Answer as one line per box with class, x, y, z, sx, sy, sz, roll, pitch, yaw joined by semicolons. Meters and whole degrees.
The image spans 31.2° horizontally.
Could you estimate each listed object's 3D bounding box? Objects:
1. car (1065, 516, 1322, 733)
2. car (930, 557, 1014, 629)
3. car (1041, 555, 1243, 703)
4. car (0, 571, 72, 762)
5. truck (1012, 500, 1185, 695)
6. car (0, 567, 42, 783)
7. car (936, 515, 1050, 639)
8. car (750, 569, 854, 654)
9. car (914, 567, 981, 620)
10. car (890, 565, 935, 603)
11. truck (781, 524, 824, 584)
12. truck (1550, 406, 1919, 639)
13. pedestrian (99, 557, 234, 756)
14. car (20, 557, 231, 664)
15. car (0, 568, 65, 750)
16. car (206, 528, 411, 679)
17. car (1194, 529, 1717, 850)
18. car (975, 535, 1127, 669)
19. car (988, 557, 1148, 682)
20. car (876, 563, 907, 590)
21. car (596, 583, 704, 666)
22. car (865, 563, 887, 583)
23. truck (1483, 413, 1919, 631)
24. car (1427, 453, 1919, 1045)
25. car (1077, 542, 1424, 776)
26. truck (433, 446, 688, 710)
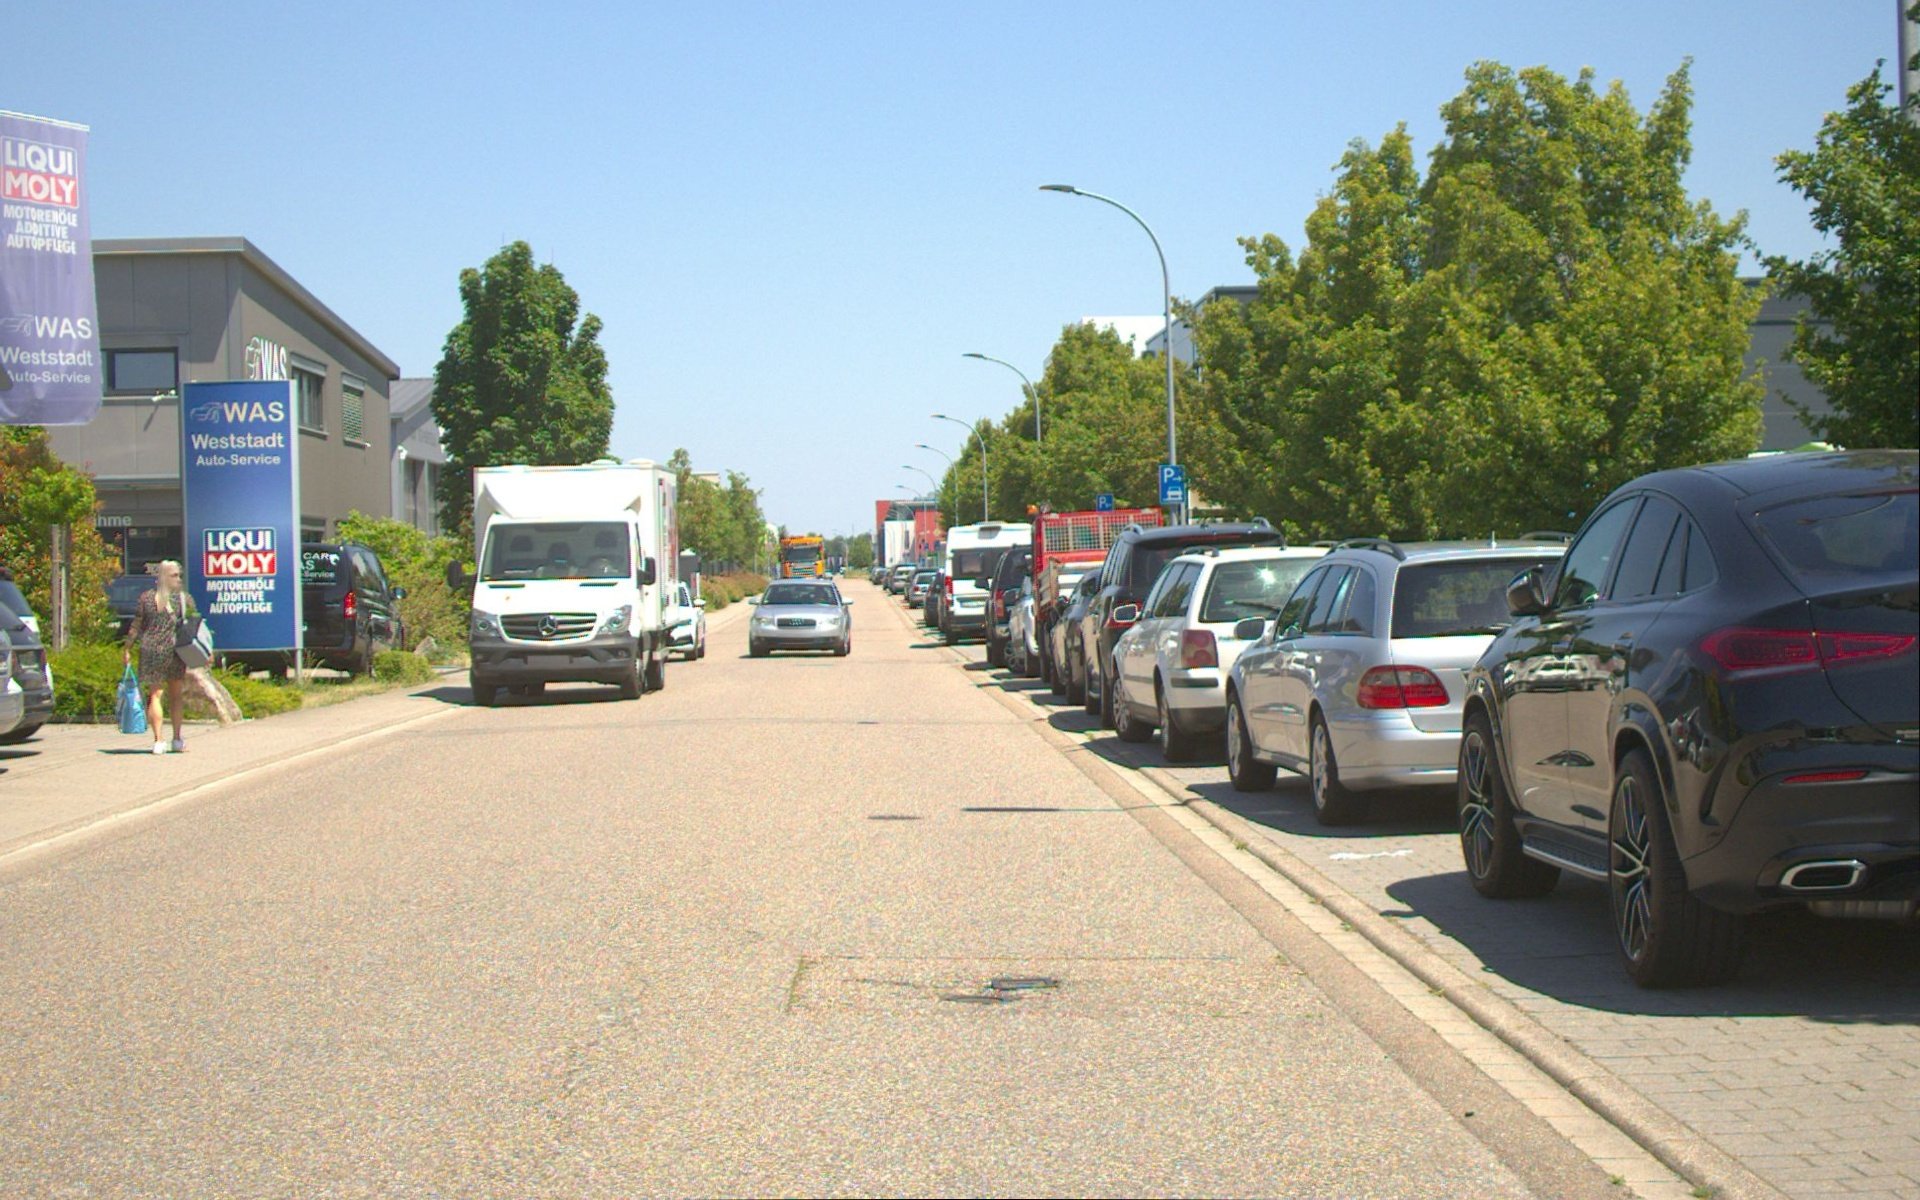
car;2.021;0.167;31.058;1.811;1.719;4.774;-3;1;-1
car;0.304;-0.182;91.067;1.993;1.819;4.354;-2;0;-2
car;1.860;0.270;36.516;1.698;1.378;4.837;-3;0;-1
car;-9.280;0.528;26.620;4.309;1.427;1.846;-1;0;0
truck;1.645;-0.045;42.233;1.679;2.174;4.390;-3;0;-2
car;-8.871;0.563;24.321;4.261;1.513;1.866;-1;0;-3
car;0.700;-0.494;74.013;2.267;2.489;6.152;-2;0;0
car;-2.924;0.196;63.647;1.783;1.417;4.414;-3;0;-3
car;-0.359;-0.203;103.398;1.709;1.499;4.705;-2;0;3
car;-1.935;-0.659;140.124;1.718;1.445;3.646;-2;0;-2
truck;-9.712;-2.869;212.542;2.448;3.501;8.273;-3;1;-2
truck;11.031;-1.031;45.412;5.901;2.862;2.307;-2;0;-4
pedestrian;-6.384;0.447;27.684;0.899;1.569;0.785;1;1;-1
car;-11.593;0.131;48.057;1.931;1.411;4.770;0;0;-2
car;-9.207;0.506;29.365;2.740;1.513;1.536;-1;0;-3
car;-8.947;0.031;47.637;1.993;1.950;5.218;-1;0;-2
car;2.597;0.407;19.226;1.804;1.478;4.774;-3;1;-5
car;1.347;0.011;52.769;1.993;1.878;5.156;-2;0;-1
car;1.426;0.244;46.727;1.738;1.525;4.000;-3;0;-3
car;-3.725;-1.306;187.395;1.585;1.405;3.500;-1;1;-2
car;-5.719;0.431;63.809;1.730;1.453;4.492;-1;0;-2
car;-6.141;-1.970;251.693;1.495;1.405;3.500;-1;1;-2
truck;10.734;-1.115;49.709;5.821;2.903;2.415;-2;0;-2
car;3.045;0.369;12.324;1.949;1.695;4.545;-3;1;-1
car;2.029;0.365;25.406;1.713;1.478;4.774;-3;1;-5
truck;-4.773;-0.267;42.067;2.361;2.850;6.415;-3;0;-1
